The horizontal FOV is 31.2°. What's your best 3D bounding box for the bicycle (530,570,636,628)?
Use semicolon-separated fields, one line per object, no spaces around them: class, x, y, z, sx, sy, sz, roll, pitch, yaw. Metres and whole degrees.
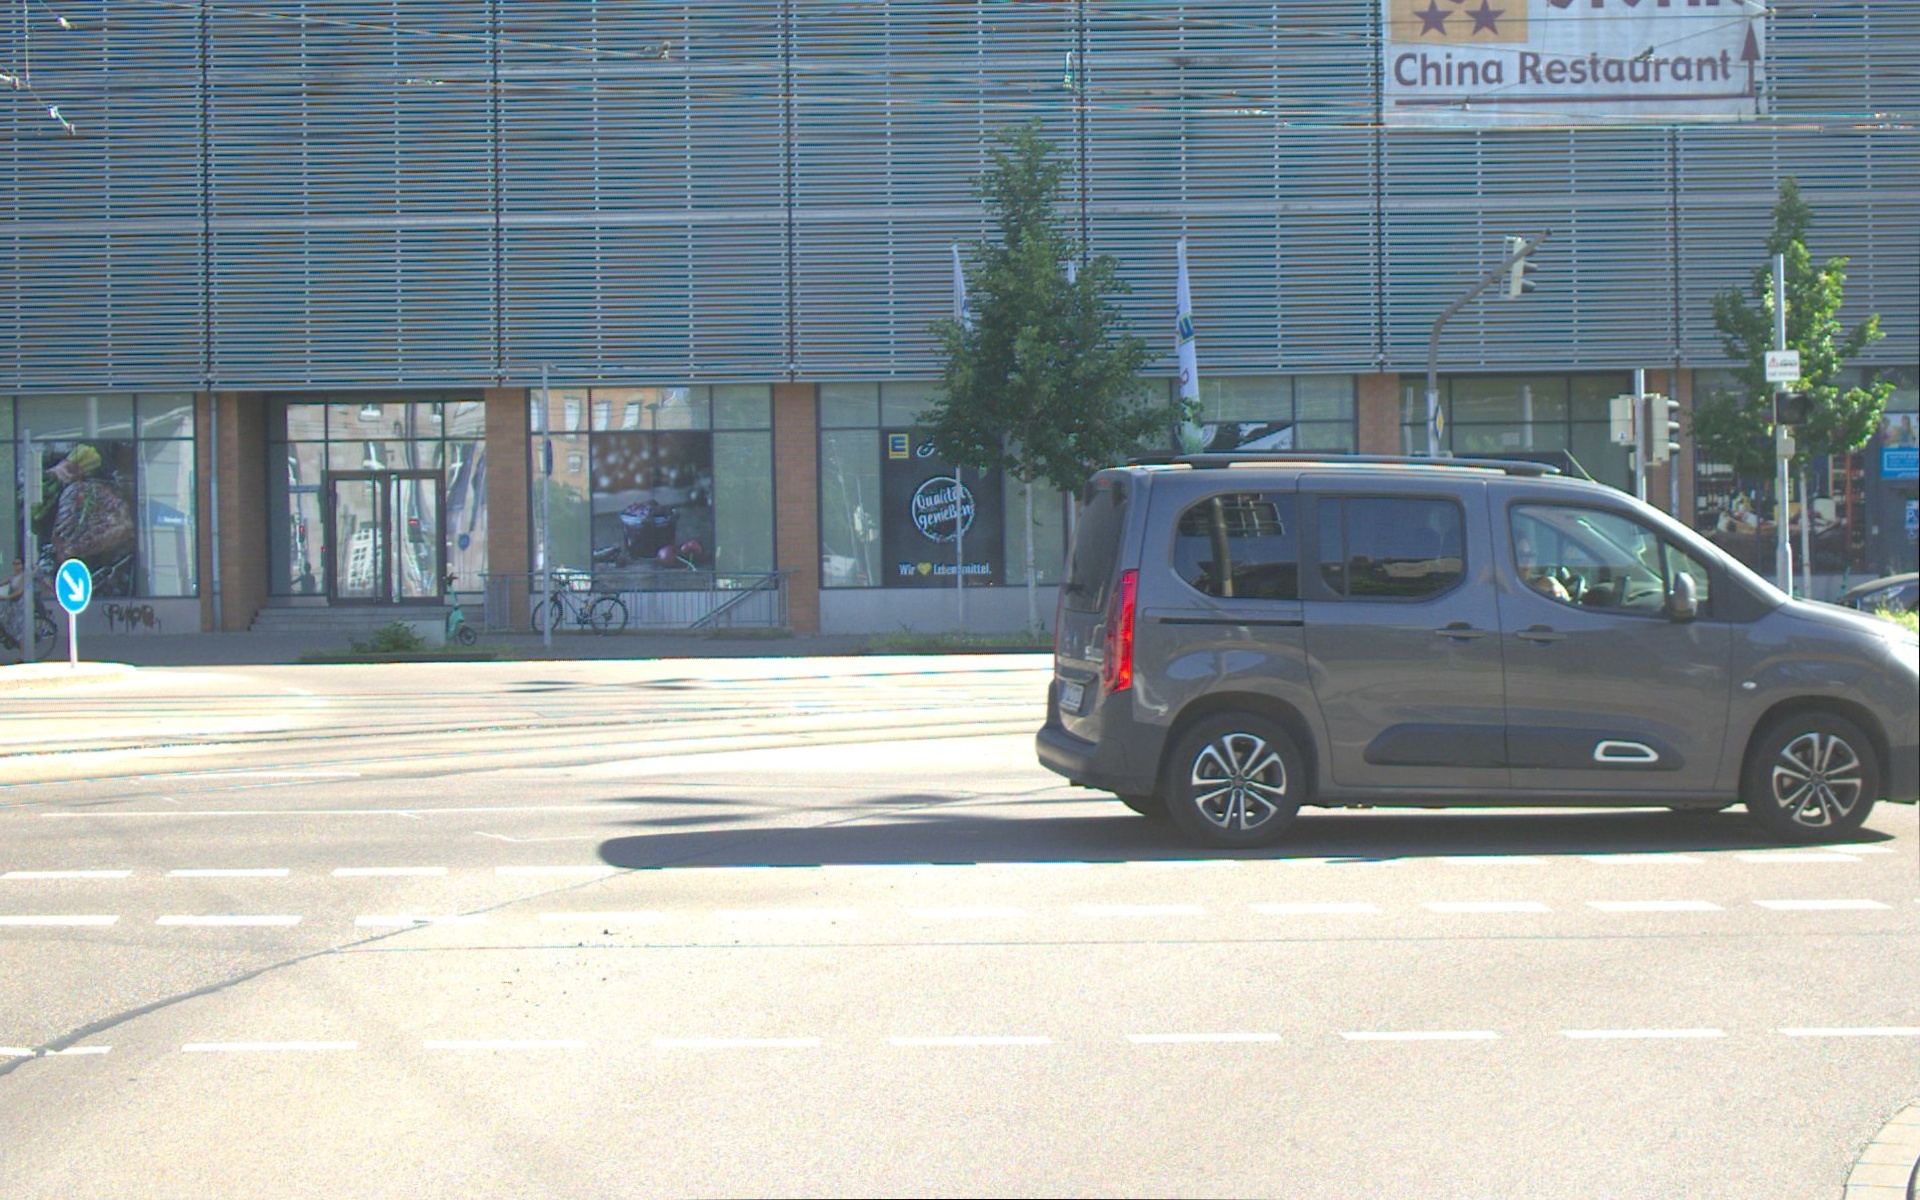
bicycle;-6.648;-0.016;60.546;1.815;0.986;0.558;-1;2;-10

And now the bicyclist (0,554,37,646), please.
bicyclist;-15.278;0.002;54.784;0.675;1.422;0.847;1;3;43

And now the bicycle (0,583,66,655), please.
bicycle;-15.244;0.311;54.864;0.568;1.082;1.859;1;3;43

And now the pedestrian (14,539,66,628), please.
pedestrian;-16.518;-0.298;61.725;0.661;1.595;0.594;1;0;18

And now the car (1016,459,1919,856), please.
car;2.616;0.231;16.716;4.457;1.785;1.710;0;1;-8

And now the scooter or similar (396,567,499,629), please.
scooter or similar;-9.077;-0.046;60.929;1.792;1.062;0.613;0;2;-8

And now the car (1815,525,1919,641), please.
car;13.756;-0.143;45.850;4.146;1.464;1.841;3;0;-1

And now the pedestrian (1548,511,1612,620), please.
pedestrian;10.715;-0.592;59.422;0.950;1.822;0.845;-2;-3;5
